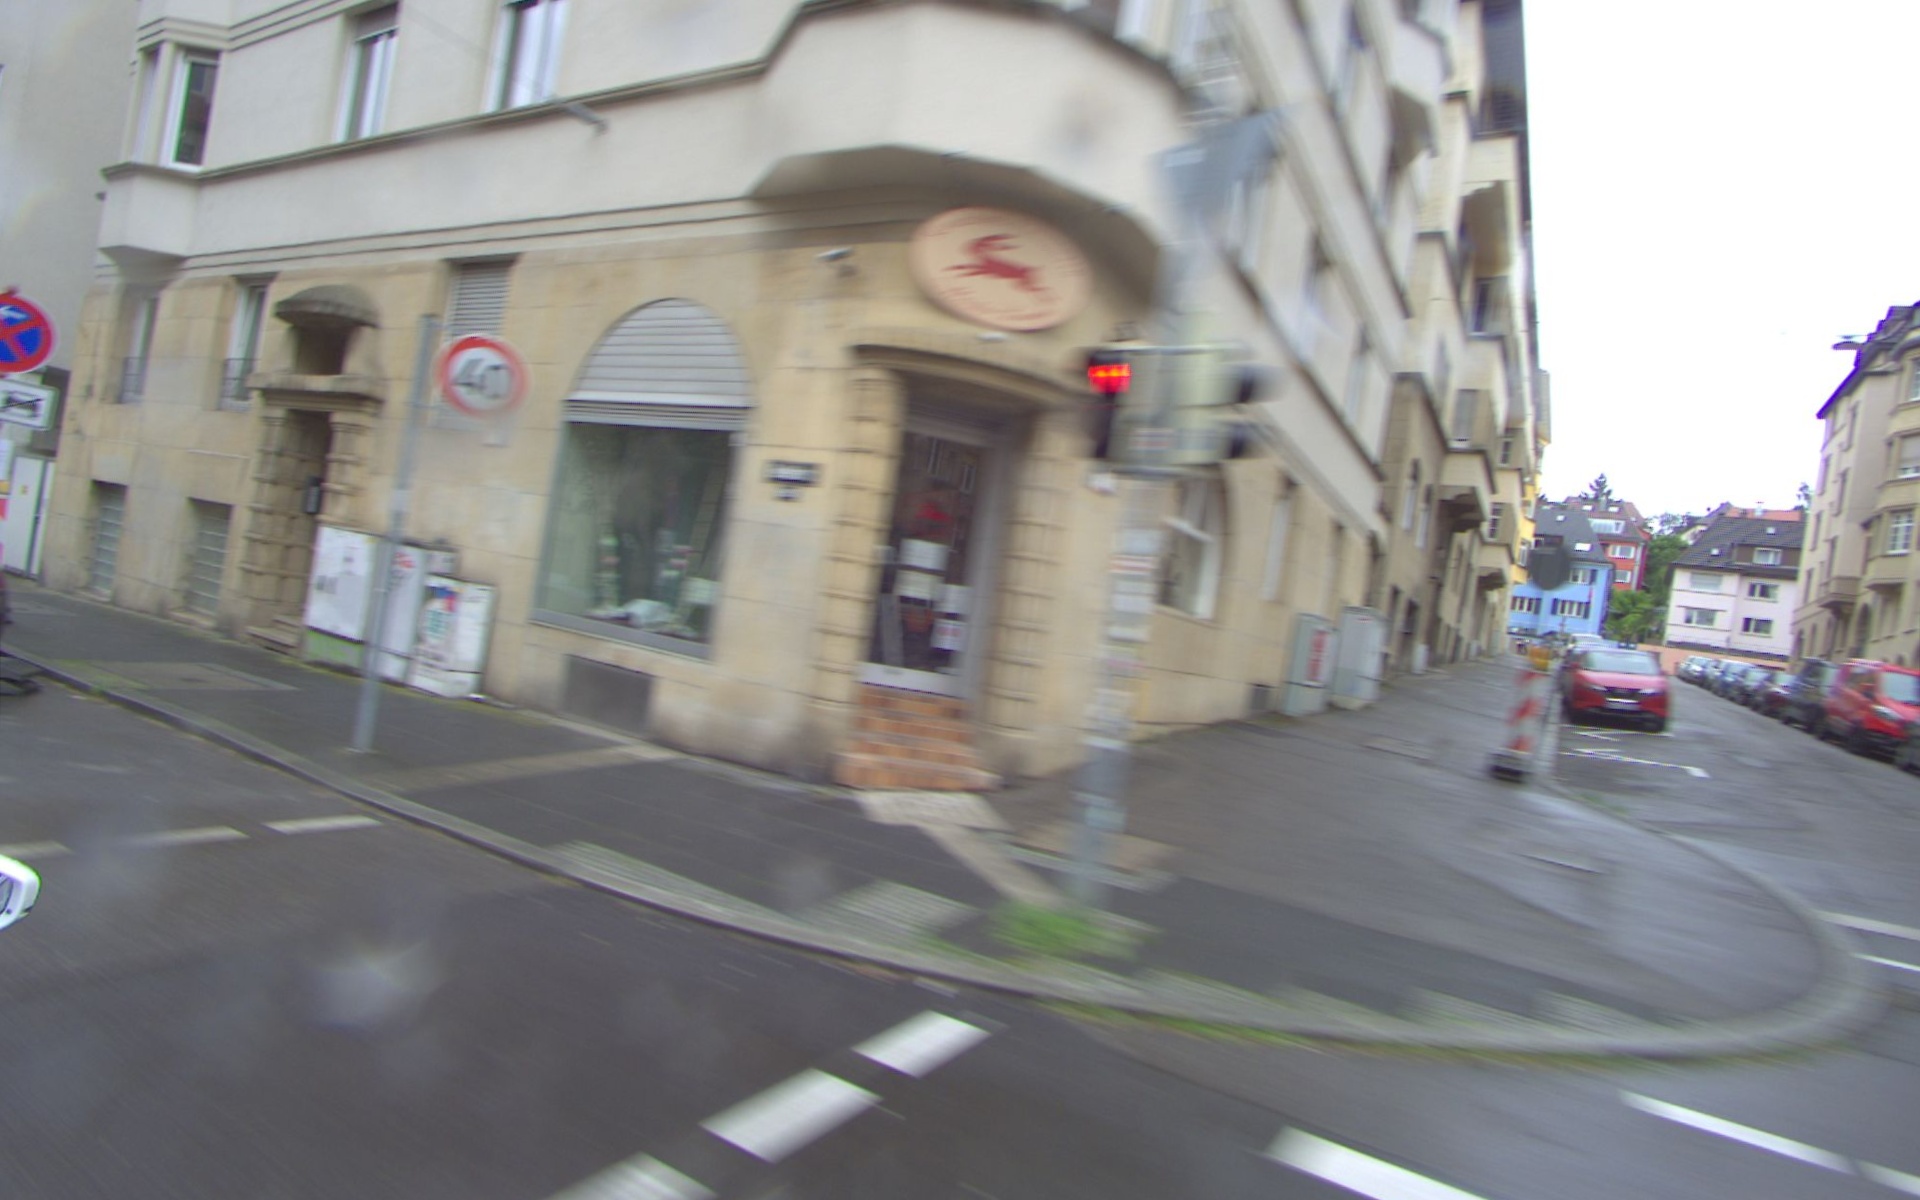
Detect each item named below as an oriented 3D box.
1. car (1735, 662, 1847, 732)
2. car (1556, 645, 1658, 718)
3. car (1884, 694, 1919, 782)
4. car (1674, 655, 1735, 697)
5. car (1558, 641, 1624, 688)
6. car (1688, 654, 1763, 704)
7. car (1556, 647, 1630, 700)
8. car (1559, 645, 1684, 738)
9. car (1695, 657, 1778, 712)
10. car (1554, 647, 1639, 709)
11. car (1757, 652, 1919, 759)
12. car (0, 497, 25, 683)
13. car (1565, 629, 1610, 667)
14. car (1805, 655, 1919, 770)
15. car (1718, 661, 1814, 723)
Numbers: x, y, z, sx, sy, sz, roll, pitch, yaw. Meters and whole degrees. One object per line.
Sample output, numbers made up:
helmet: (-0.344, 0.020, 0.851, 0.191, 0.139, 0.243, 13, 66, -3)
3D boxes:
car: (27.404, 3.134, 33.324, 1.968, 1.672, 4.344, 14, 6, 31)
car: (16.926, 2.054, 26.509, 1.946, 1.588, 4.360, 4, 0, 30)
car: (18.065, 2.708, 17.535, 1.829, 1.483, 4.672, 15, 6, 32)
car: (39.627, 3.996, 53.645, 1.968, 1.672, 4.344, 14, 6, 31)
car: (25.003, 2.502, 39.960, 2.004, 1.588, 4.460, 4, 0, 31)
car: (34.574, 3.518, 45.572, 1.968, 1.672, 4.344, 14, 6, 31)
car: (22.610, 2.581, 36.061, 1.946, 1.588, 4.360, 4, 0, 30)
car: (14.559, 1.930, 22.358, 1.946, 1.589, 4.359, 4, 1, 30)
car: (32.153, 3.453, 41.775, 1.968, 1.672, 4.344, 14, 6, 31)
car: (19.637, 2.343, 31.204, 1.946, 1.588, 4.360, 4, 0, 30)
car: (23.885, 2.746, 27.477, 2.363, 2.070, 5.077, 14, 6, 31)
car: (-9.757, -0.358, 8.404, 4.740, 1.427, 1.713, 6, -1, 34)
car: (37.236, 2.807, 59.775, 1.946, 2.022, 4.360, 4, 0, 30)
car: (20.875, 2.502, 22.405, 2.038, 2.070, 5.077, 14, 6, 31)
car: (30.045, 3.366, 37.658, 1.968, 1.672, 4.344, 14, 6, 31)
